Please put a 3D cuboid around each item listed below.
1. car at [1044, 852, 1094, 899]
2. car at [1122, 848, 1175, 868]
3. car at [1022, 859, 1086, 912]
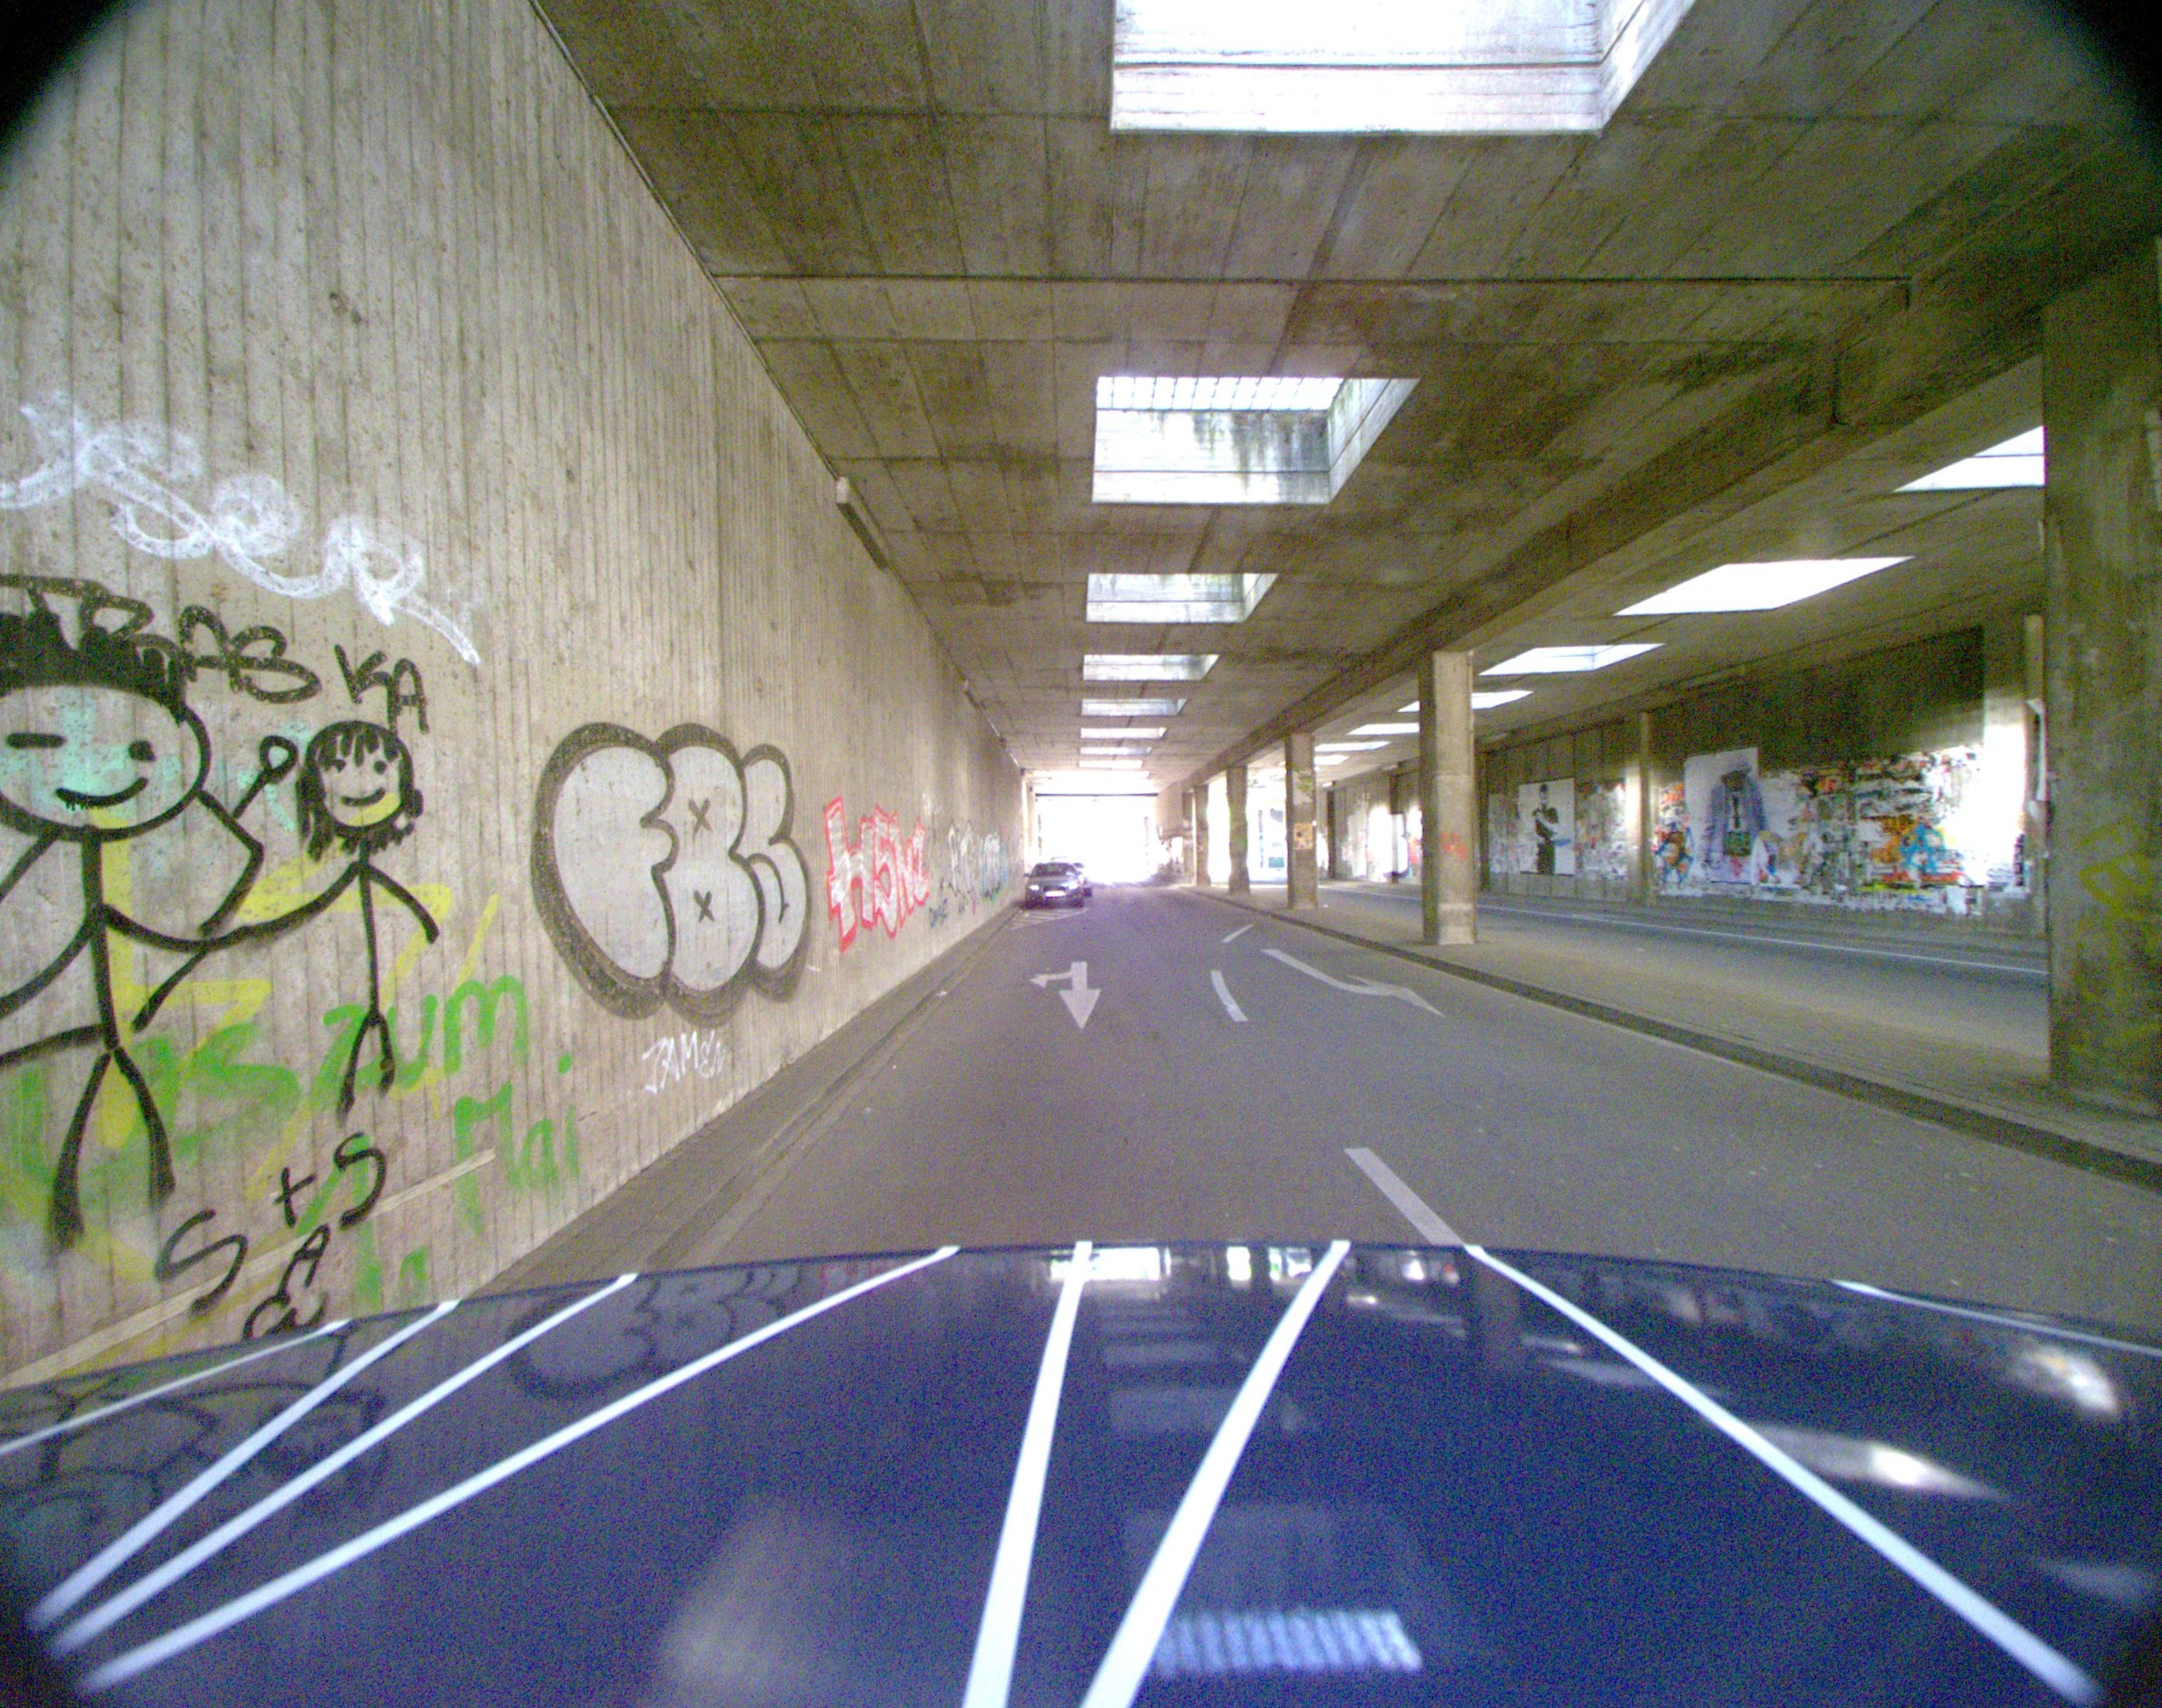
[{"bbox_3d":[-0.504,0.776,29.802,1.767,1.634,3.999,-2,1,-2],"label":"car"},{"bbox_3d":[6.595,0.332,74.724,4.858,1.740,1.999,-2,1,-7],"label":"car"},{"bbox_3d":[-0.779,0.922,23.977,1.767,1.407,3.999,-2,1,1],"label":"car"}]
